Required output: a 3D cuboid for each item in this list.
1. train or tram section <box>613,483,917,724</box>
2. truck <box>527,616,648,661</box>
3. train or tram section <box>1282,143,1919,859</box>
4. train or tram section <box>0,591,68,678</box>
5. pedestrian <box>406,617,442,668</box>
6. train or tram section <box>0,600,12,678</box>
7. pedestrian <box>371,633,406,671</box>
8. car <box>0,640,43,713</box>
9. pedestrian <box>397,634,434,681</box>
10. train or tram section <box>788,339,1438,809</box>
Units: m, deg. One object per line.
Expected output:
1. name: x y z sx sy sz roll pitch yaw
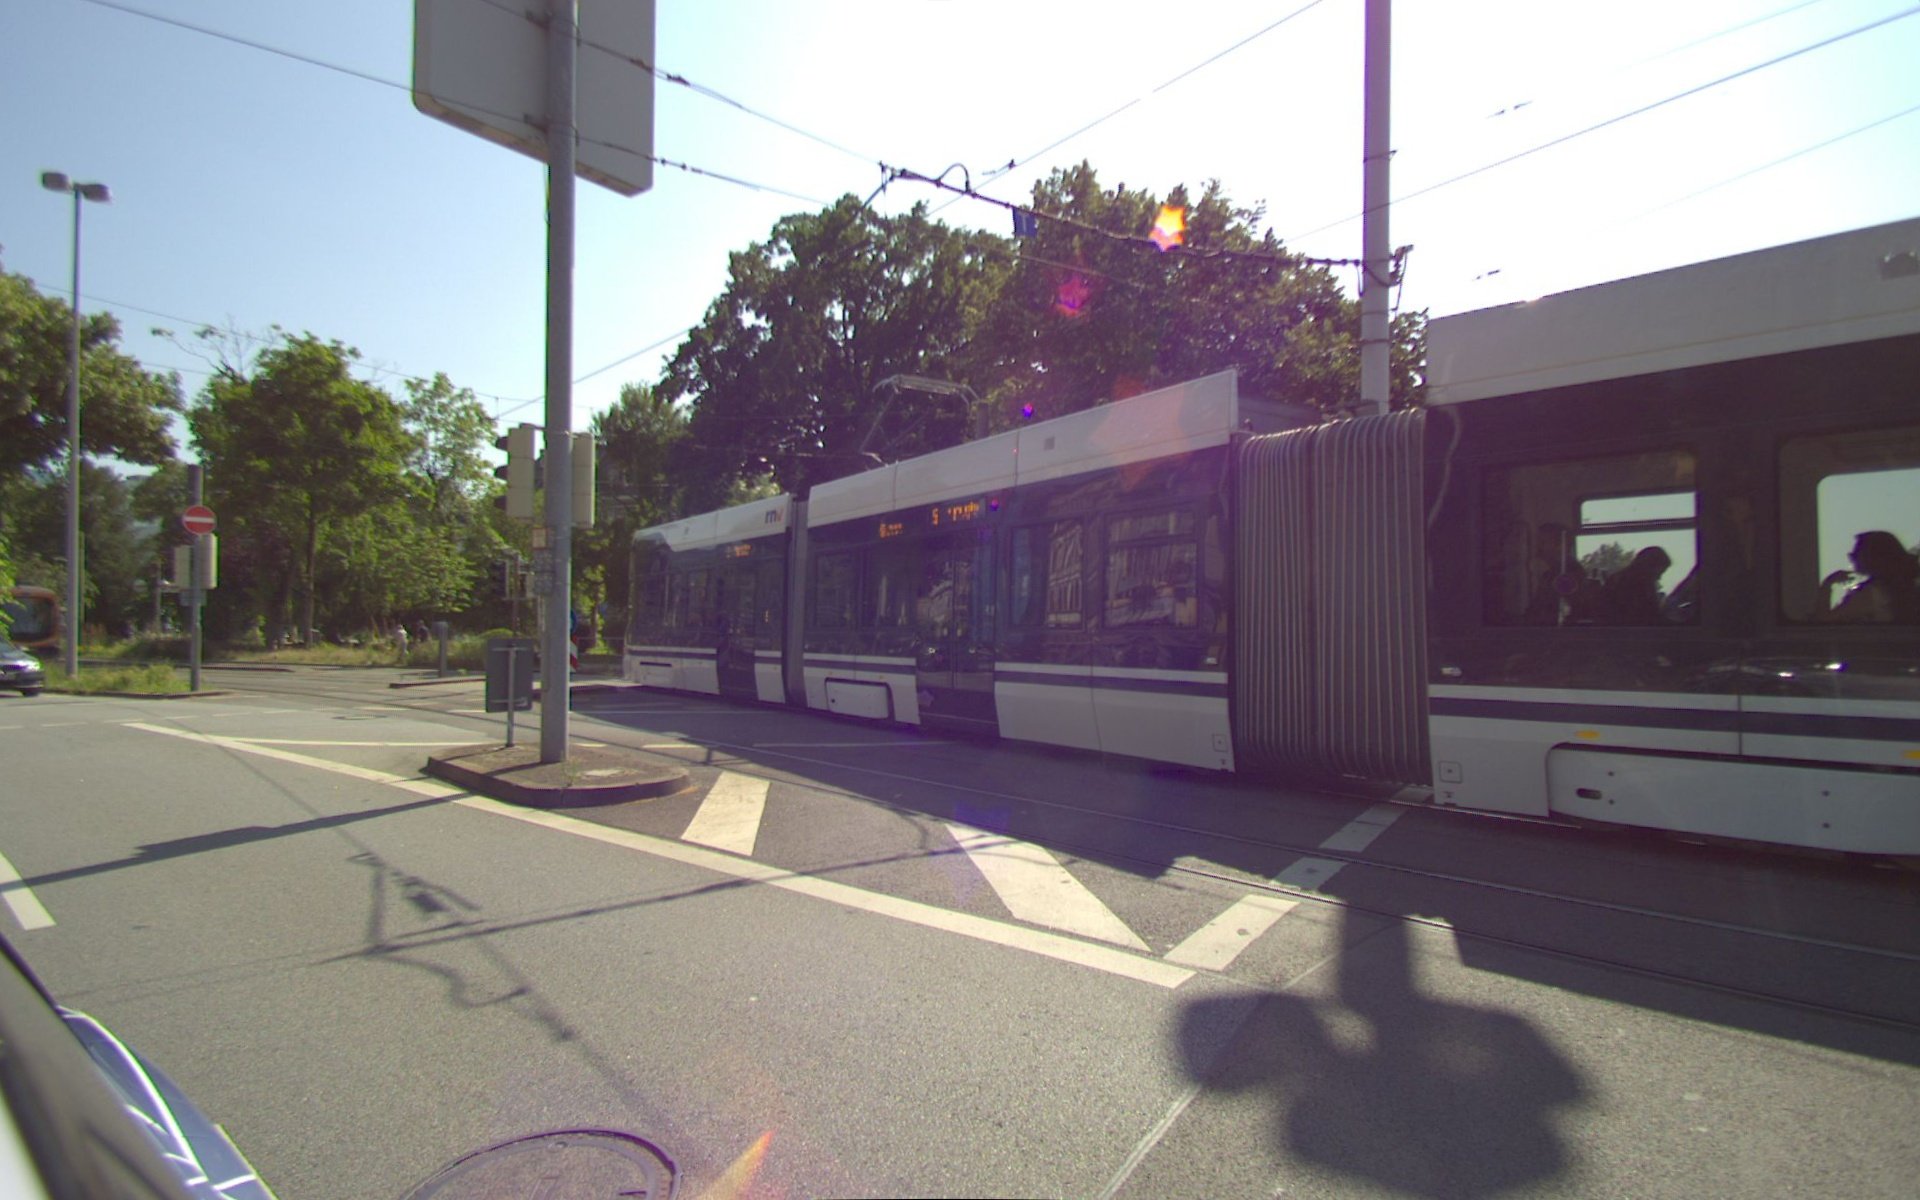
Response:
1. train or tram section: -4.406 0.210 20.476 2.503 3.806 9.191 1 -2 -35
2. truck: -36.864 3.843 100.194 11.723 4.295 3.608 -1 -3 20
3. train or tram section: 6.691 -0.545 5.145 2.375 3.709 9.627 1 -3 -43
4. train or tram section: -40.061 1.463 41.981 5.861 3.429 2.741 -2 -3 29
5. pedestrian: -23.279 1.838 43.943 0.800 2.167 1.113 -2 -1 36
6. train or tram section: -48.012 1.813 46.721 12.363 3.429 2.740 -2 -3 31
7. pedestrian: -24.995 2.279 44.283 0.932 1.632 1.027 -2 -3 36
8. car: -21.865 1.614 21.815 4.729 1.497 1.735 -2 -3 30
9. pedestrian: -24.021 2.541 44.653 0.800 2.029 1.211 -2 -3 36
10. train or tram section: 0.887 -0.034 12.695 2.503 3.806 9.193 1 -3 -33
